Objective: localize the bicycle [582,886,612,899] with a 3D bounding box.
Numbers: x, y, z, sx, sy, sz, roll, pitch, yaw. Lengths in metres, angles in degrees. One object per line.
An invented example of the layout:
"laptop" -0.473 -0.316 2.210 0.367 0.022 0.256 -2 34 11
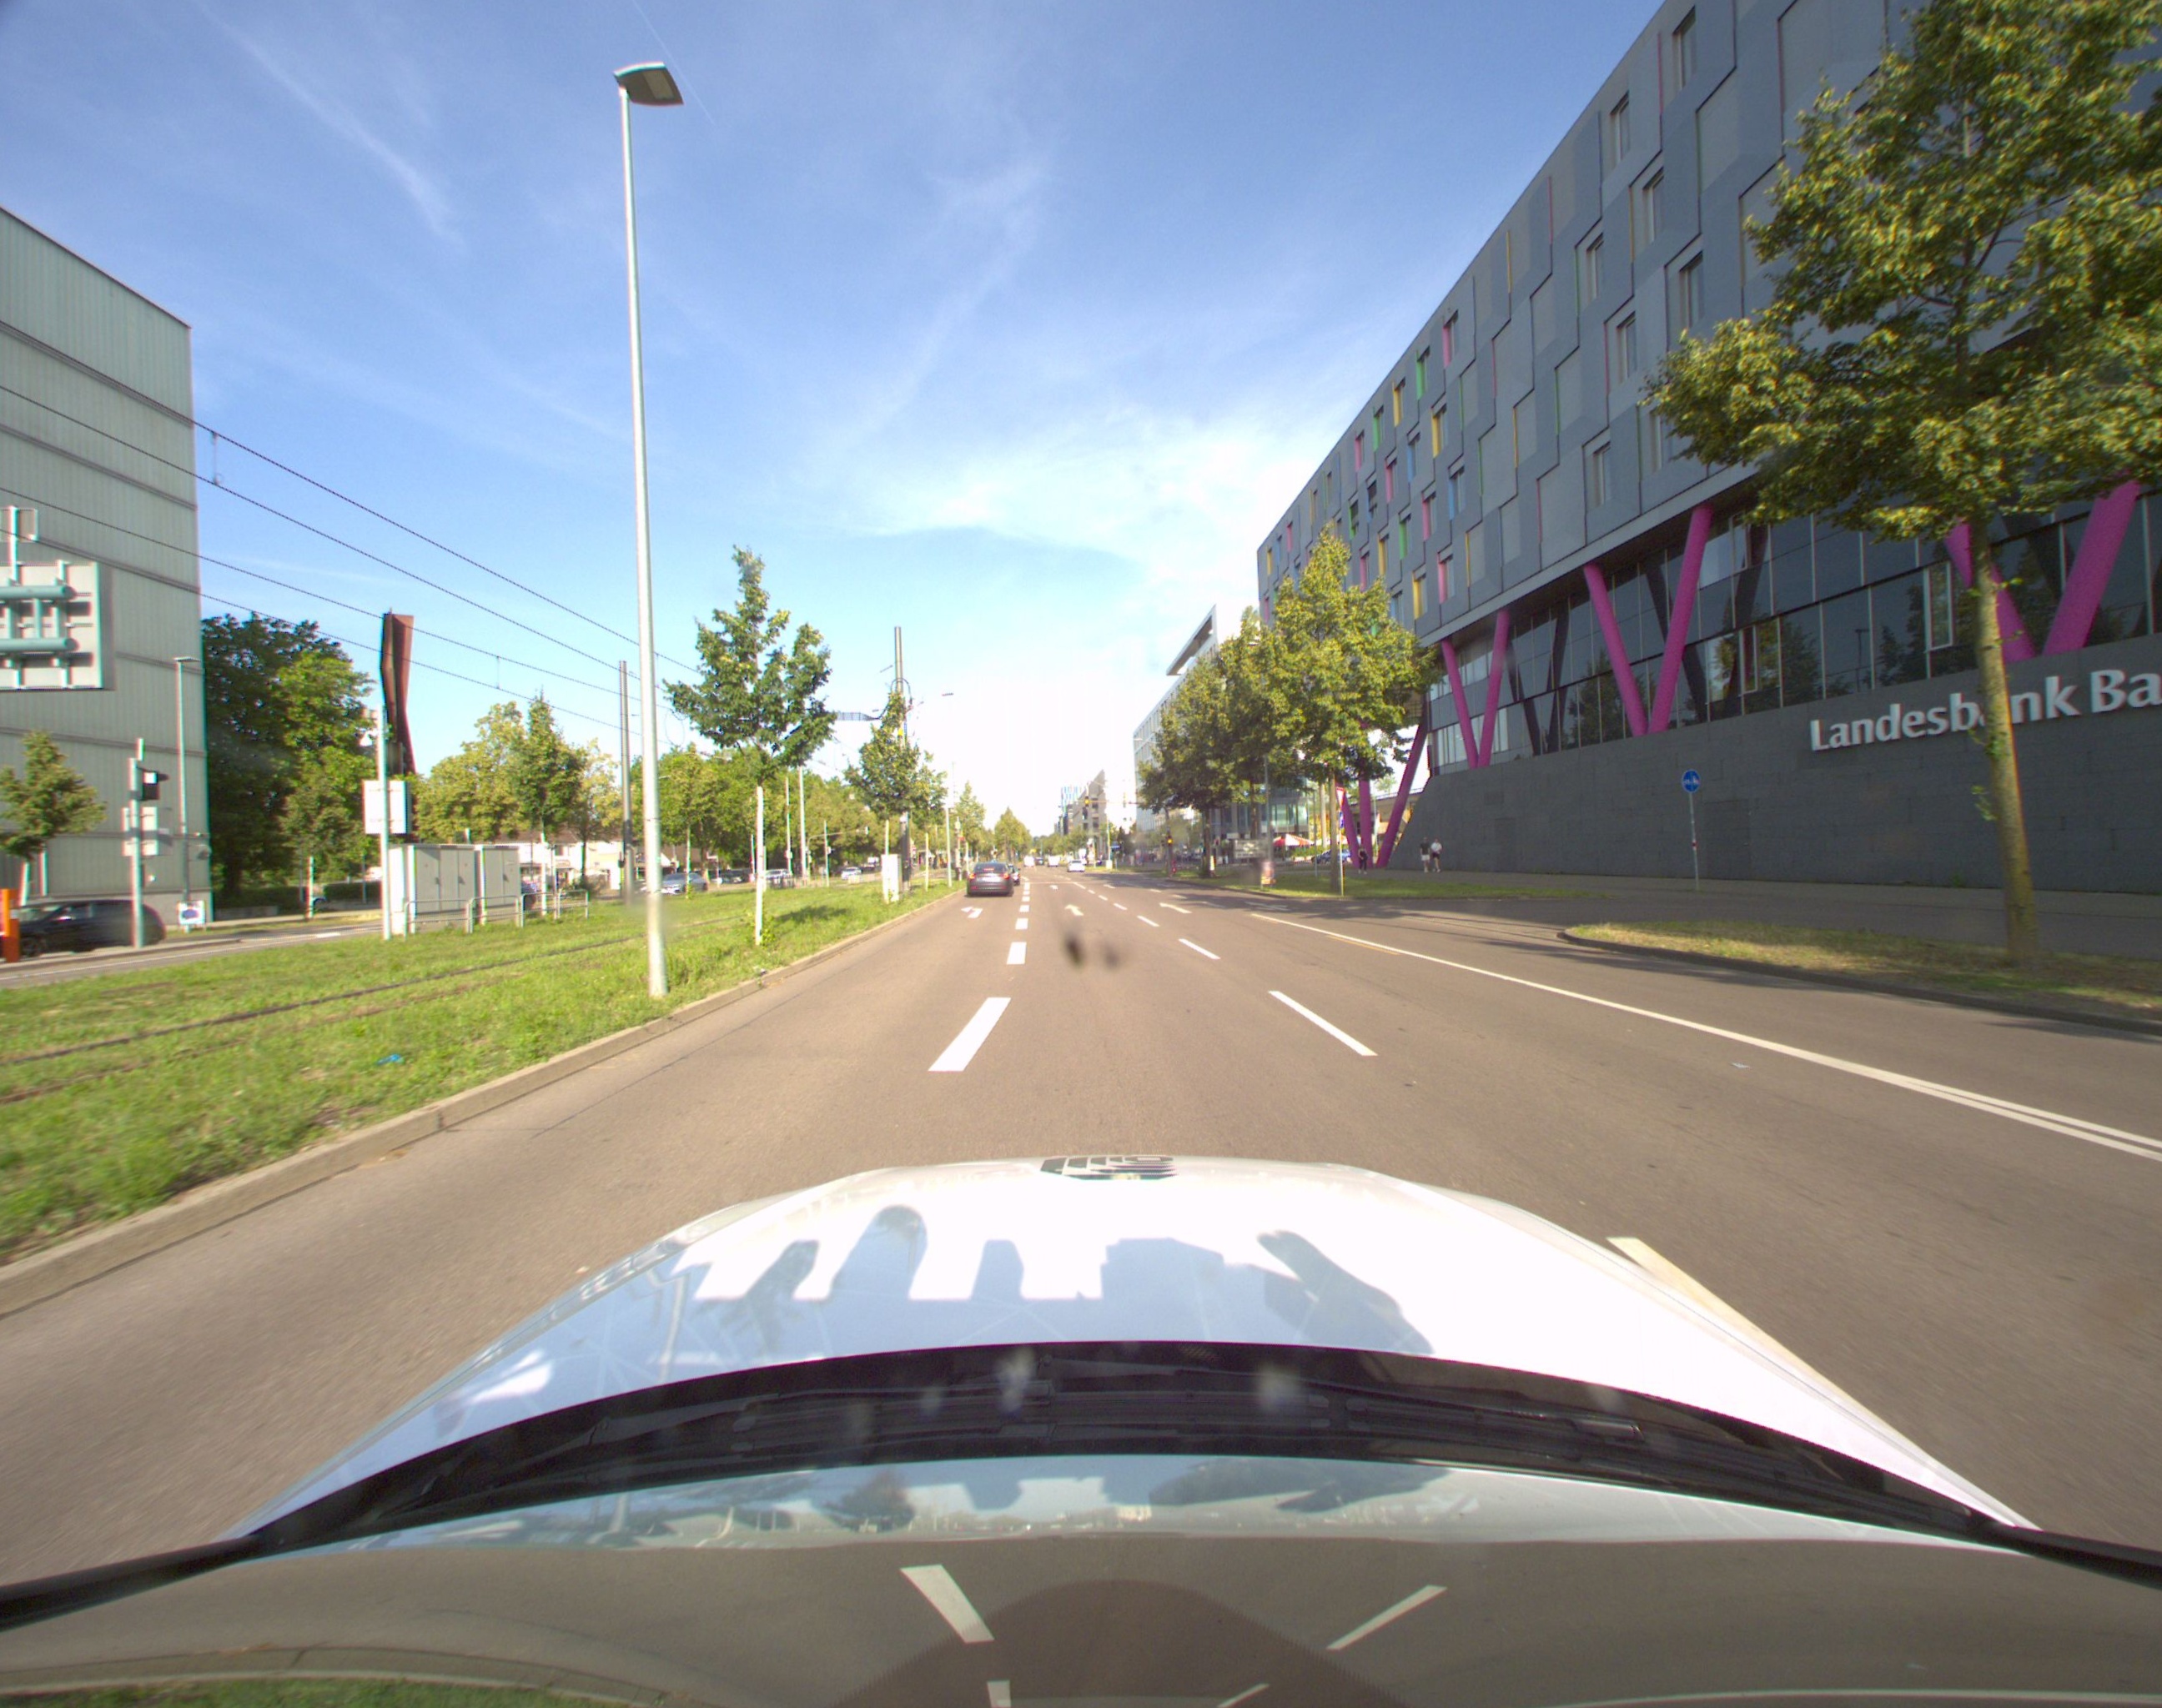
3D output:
"bicycle" -42.847 3.425 72.091 2.207 1.041 0.693 -2 -1 -27

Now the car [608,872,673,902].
"car" -28.963 2.142 53.729 1.990 1.687 4.609 -2 0 -4

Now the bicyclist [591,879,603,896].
"bicyclist" -42.851 2.970 72.105 0.851 1.493 0.694 -2 -1 -26

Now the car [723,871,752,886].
"car" -44.993 3.172 106.753 1.874 1.750 4.001 -2 -1 2

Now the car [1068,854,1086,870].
"car" -0.497 0.860 91.054 1.860 1.684 3.995 0 0 -3

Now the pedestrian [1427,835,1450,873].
"pedestrian" 17.839 0.000 40.680 0.655 1.793 0.785 -4 0 -5

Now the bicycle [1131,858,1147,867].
"bicycle" 7.319 1.068 103.173 1.855 1.032 0.778 -2 0 43

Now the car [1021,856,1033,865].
"car" -9.903 1.126 149.840 2.010 1.684 3.995 0 0 -3

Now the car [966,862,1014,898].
"car" -3.767 1.055 34.268 1.886 1.386 4.327 0 0 -5

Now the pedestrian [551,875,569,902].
"pedestrian" -42.861 2.813 66.942 0.715 2.107 0.887 -4 0 25

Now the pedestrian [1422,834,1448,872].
"pedestrian" 17.665 -0.040 40.620 0.766 1.825 0.851 -4 0 -5

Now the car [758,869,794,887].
"car" -29.088 2.286 77.795 1.902 1.528 4.436 -2 0 -3

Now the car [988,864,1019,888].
"car" -4.534 1.257 48.213 1.760 1.330 4.393 0 0 -4

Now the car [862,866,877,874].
"car" -43.698 3.378 167.954 1.874 1.559 4.001 -2 -1 2

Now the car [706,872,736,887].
"car" -45.062 3.166 101.983 1.874 1.750 4.001 -2 -1 2

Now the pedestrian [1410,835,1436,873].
"pedestrian" 17.042 0.004 40.572 0.753 1.793 0.842 -4 0 -5

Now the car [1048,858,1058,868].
"car" -5.020 1.539 145.418 1.860 1.684 3.995 0 0 -3

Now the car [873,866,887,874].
"car" -43.480 3.384 175.902 1.874 1.559 4.001 -2 -1 2

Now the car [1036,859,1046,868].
"car" -8.272 1.959 168.444 1.919 1.684 3.995 0 0 -3

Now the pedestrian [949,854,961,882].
"pedestrian" -8.388 0.929 54.207 0.698 1.792 0.634 0 -1 -4

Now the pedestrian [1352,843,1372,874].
"pedestrian" 15.386 0.236 44.581 0.693 1.638 0.735 -4 0 -5

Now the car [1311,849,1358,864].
"car" 25.990 0.254 83.662 4.177 1.424 1.856 -3 0 -5

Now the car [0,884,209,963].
"car" -26.614 1.768 21.620 1.990 1.687 4.719 -2 0 -4

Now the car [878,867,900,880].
"car" -23.946 2.399 101.741 1.989 1.504 4.088 -3 0 -3

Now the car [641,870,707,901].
"car" -24.722 1.899 49.655 1.993 1.527 4.898 -5 0 -8

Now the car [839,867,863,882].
"car" -27.123 2.414 96.119 1.991 1.528 4.302 -2 0 -7

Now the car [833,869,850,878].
"car" -44.147 3.526 150.337 1.874 1.559 4.001 -2 -1 2
